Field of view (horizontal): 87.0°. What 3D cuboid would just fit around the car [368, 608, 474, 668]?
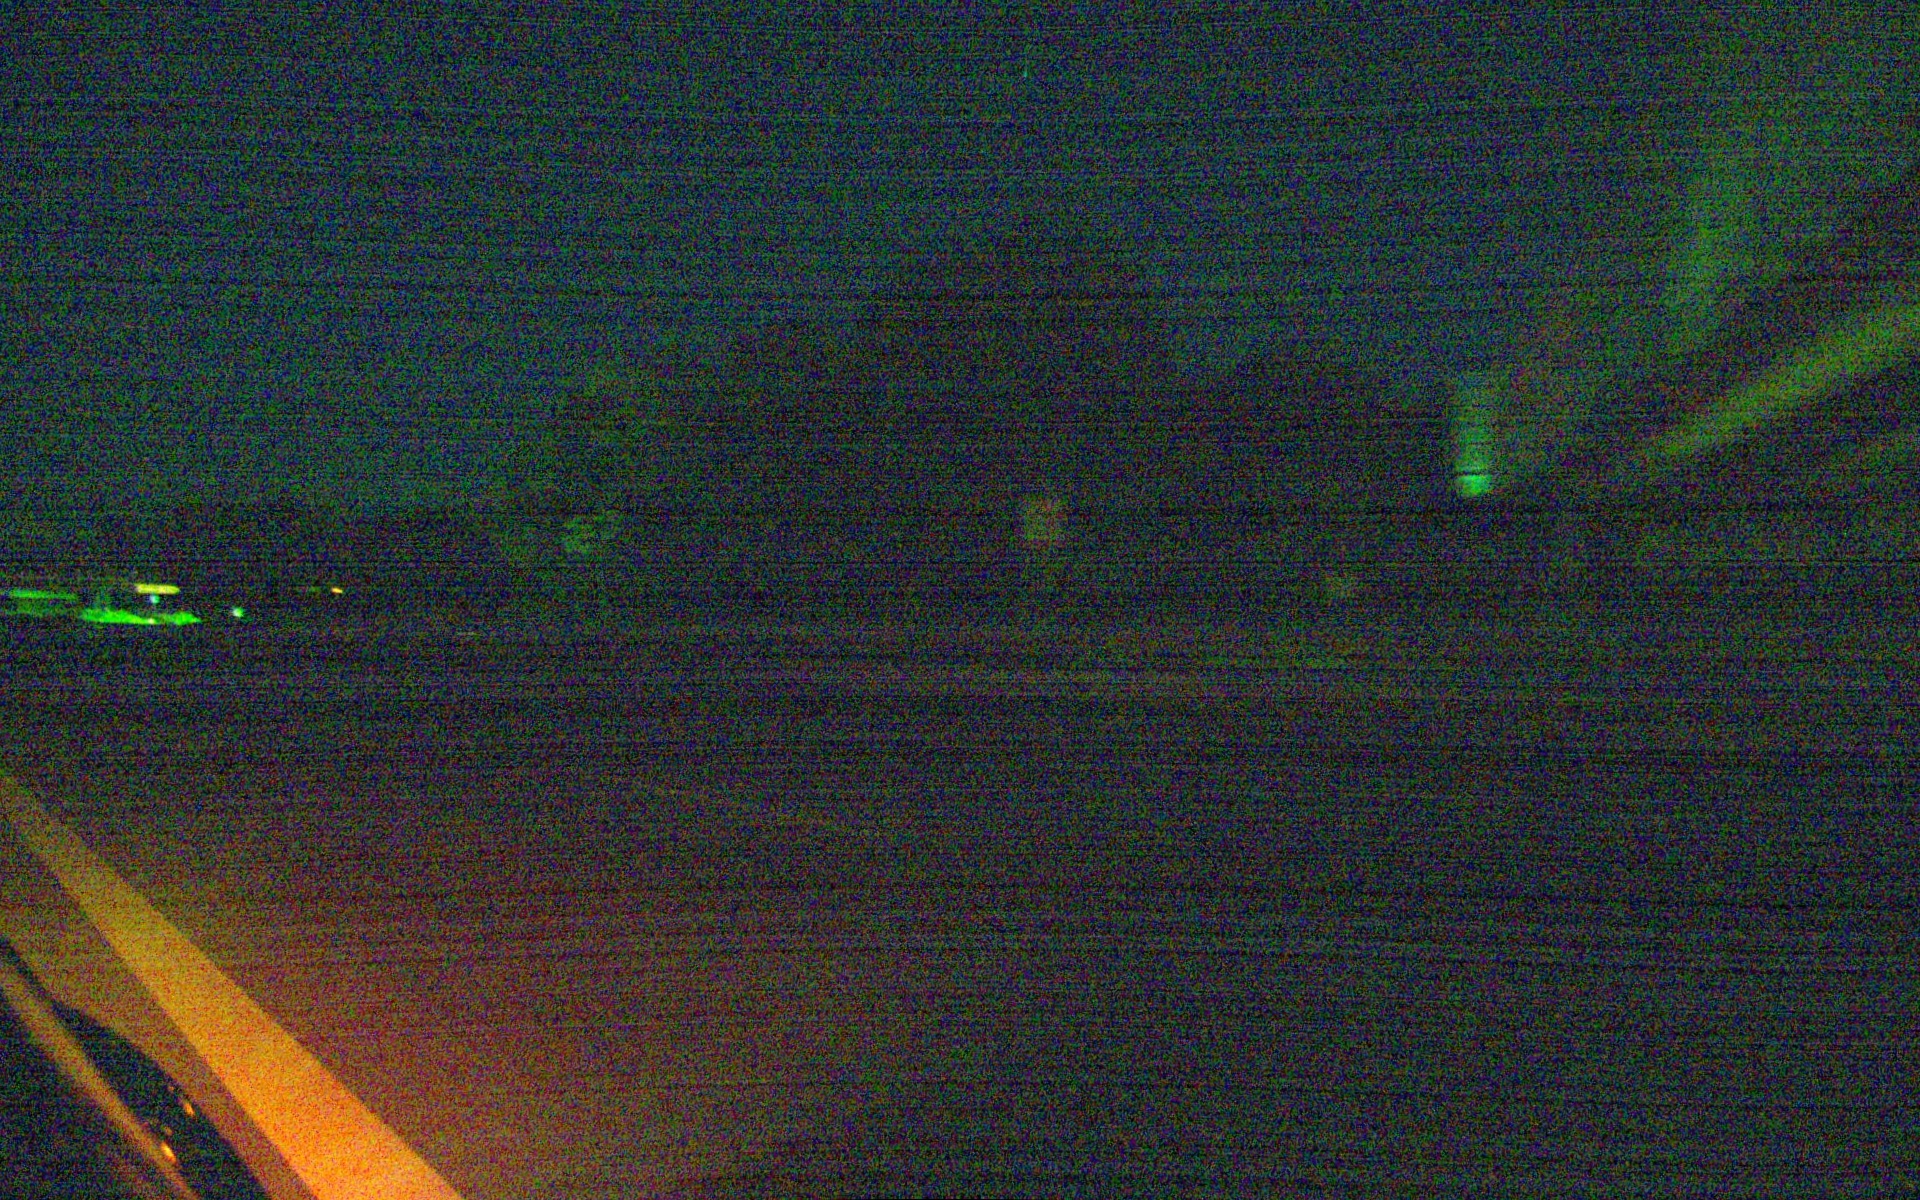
[{"bbox_3d":[-19.812,1.332,37.113,4.606,2.029,1.973,-1,-1,41],"label":"car"}]

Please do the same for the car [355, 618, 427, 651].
[{"bbox_3d":[-28.869,1.719,51.275,3.998,1.530,1.973,0,0,41],"label":"car"}]
